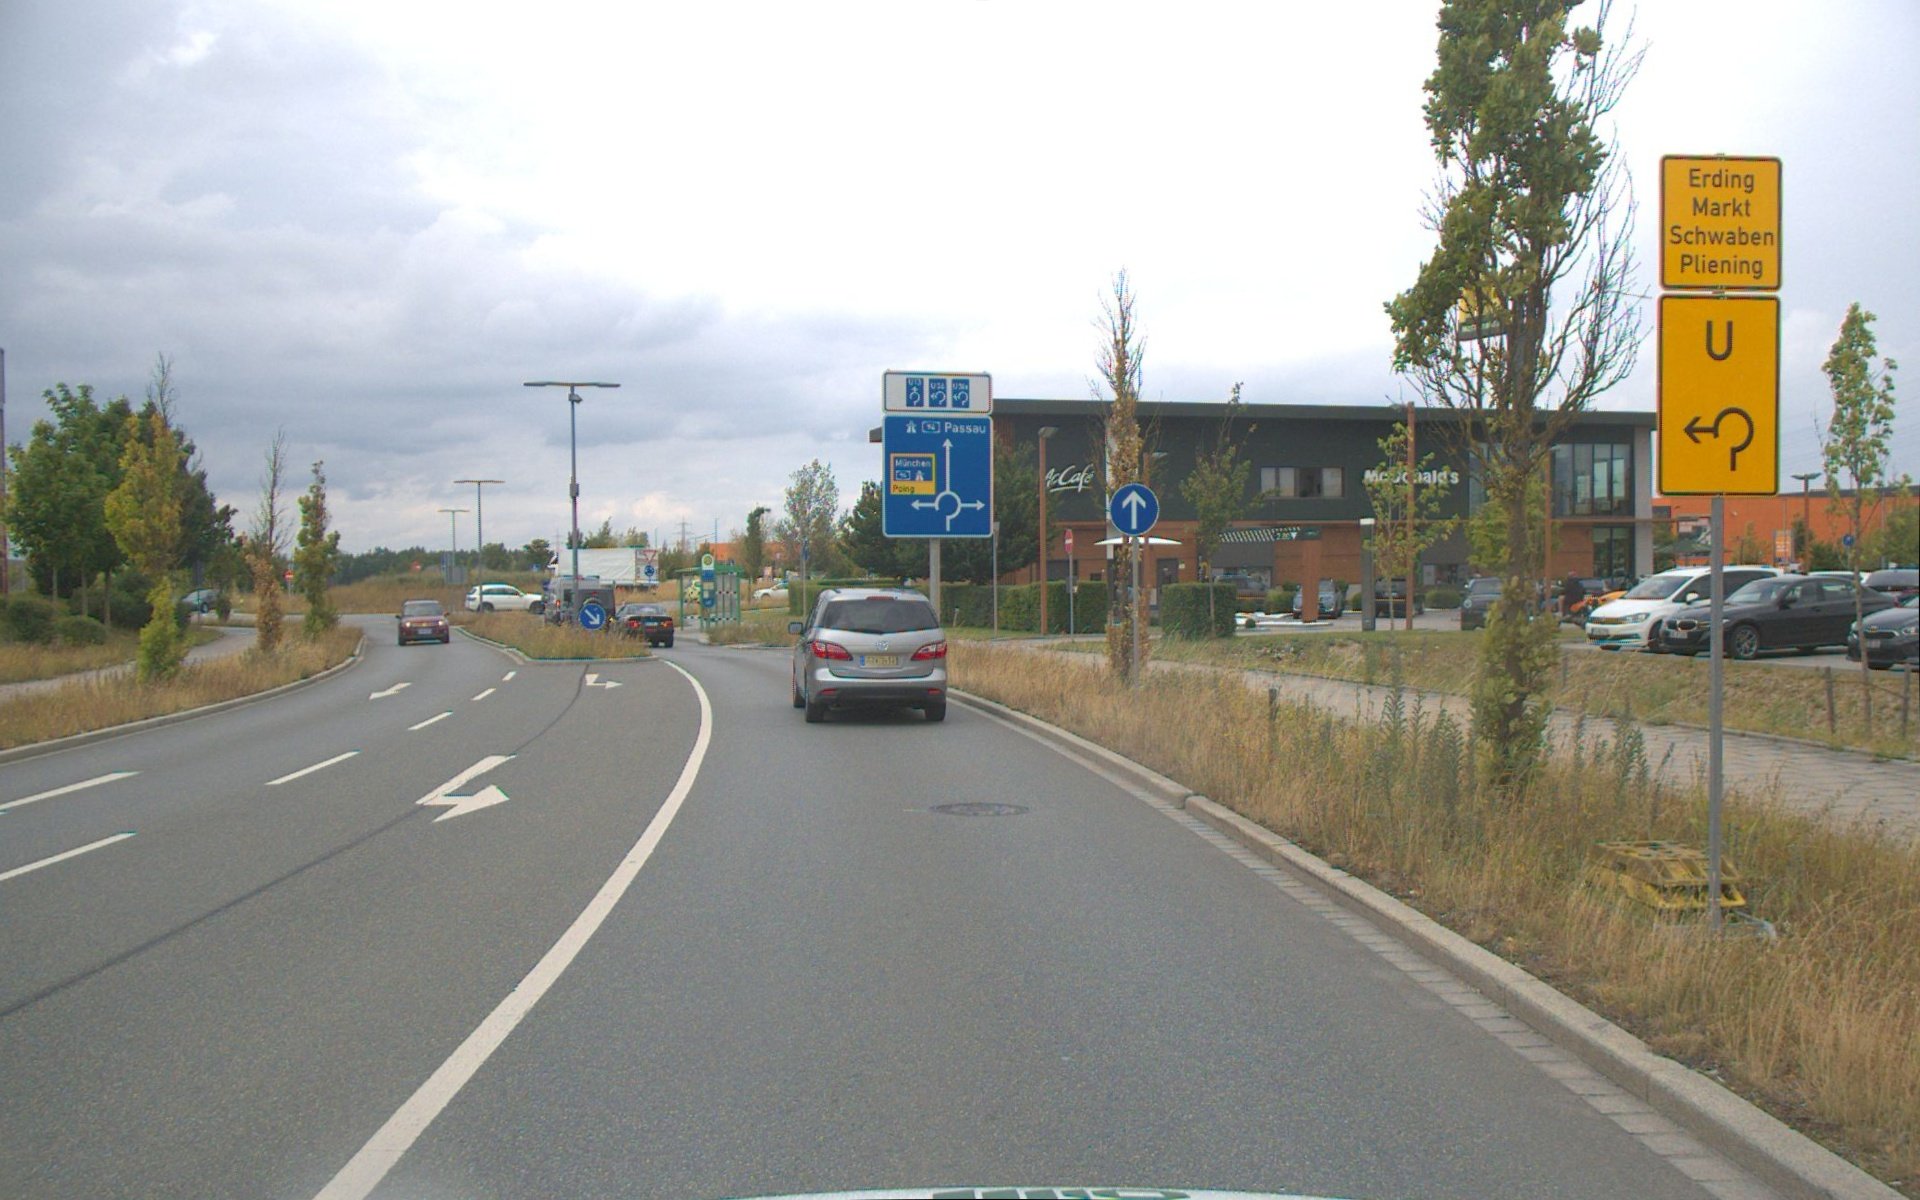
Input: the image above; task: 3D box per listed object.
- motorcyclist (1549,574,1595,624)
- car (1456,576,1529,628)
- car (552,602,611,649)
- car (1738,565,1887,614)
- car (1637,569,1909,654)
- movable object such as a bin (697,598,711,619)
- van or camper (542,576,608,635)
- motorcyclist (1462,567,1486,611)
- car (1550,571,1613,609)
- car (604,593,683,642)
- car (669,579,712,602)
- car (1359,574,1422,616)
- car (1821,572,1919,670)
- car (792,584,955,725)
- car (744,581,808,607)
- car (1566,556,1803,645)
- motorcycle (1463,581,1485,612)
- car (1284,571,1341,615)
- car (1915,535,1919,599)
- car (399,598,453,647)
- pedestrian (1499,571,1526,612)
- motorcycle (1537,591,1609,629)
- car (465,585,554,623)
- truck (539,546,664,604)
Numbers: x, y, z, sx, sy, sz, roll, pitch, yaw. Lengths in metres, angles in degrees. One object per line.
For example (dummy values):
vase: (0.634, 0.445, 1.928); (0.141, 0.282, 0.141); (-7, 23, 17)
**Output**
motorcyclist: (16.761, -0.035, 45.306); (0.771, 1.357, 0.887); (-1, 0, -29)
car: (14.574, 0.032, 45.158); (1.773, 1.336, 3.851); (-1, 1, 20)
car: (-15.642, 1.008, 68.220); (2.025, 1.857, 4.764); (-1, 0, -17)
car: (30.909, -0.378, 60.134); (4.621, 1.685, 2.000); (-1, 0, 22)
car: (15.429, 0.188, 31.448); (4.394, 1.461, 2.065); (-1, 1, -16)
movable object such as a bin: (-10.000, 0.344, 64.654); (0.449, 0.812, 0.378); (-1, 0, -20)
van or camper: (-17.477, 0.222, 74.938); (2.269, 2.550, 5.175); (0, 0, -20)
motorcyclist: (21.663, -0.463, 69.744); (0.941, 1.864, 0.846); (0, 0, 19)
car: (27.135, -0.432, 72.331); (1.951, 1.609, 4.004); (0, 0, 12)
car: (-10.102, 0.528, 52.634); (1.818, 1.443, 4.199); (-1, 1, -20)
car: (-18.198, -0.627, 111.588); (1.967, 1.542, 3.970); (-1, 0, -24)
car: (18.180, -0.218, 69.731); (2.072, 1.747, 4.231); (0, 0, 21)
car: (16.231, 0.270, 26.567); (4.015, 1.463, 1.936); (-2, 1, -14)
car: (-1.188, 0.619, 21.055); (1.698, 1.628, 3.799); (0, 0, -9)
car: (-13.233, -0.443, 118.800); (4.517, 1.788, 1.996); (-1, 0, -9)
car: (14.824, -0.014, 33.887); (4.280, 1.668, 1.928); (-1, 1, -18)
motorcycle: (21.669, -0.154, 69.730); (0.838, 1.266, 1.967); (0, 0, 18)
car: (14.550, -0.281, 68.134); (1.951, 1.747, 4.002); (0, 0, 18)
car: (41.632, -1.371, 66.172); (5.916, 2.572, 2.277); (-1, 1, 31)
car: (-20.453, 0.828, 63.231); (1.772, 1.698, 4.302); (-4, 1, -19)
pedestrian: (20.347, -0.313, 60.863); (0.756, 1.464, 0.621); (-1, 0, 40)
motorcycle: (16.775, 0.258, 45.269); (0.730, 1.002, 1.806); (-1, 0, -29)
car: (-25.207, 0.212, 92.535); (4.553, 2.049, 1.983); (-1, 0, -26)
truck: (-26.057, -1.795, 119.901); (9.132, 3.975, 3.137); (-1, 0, 31)
